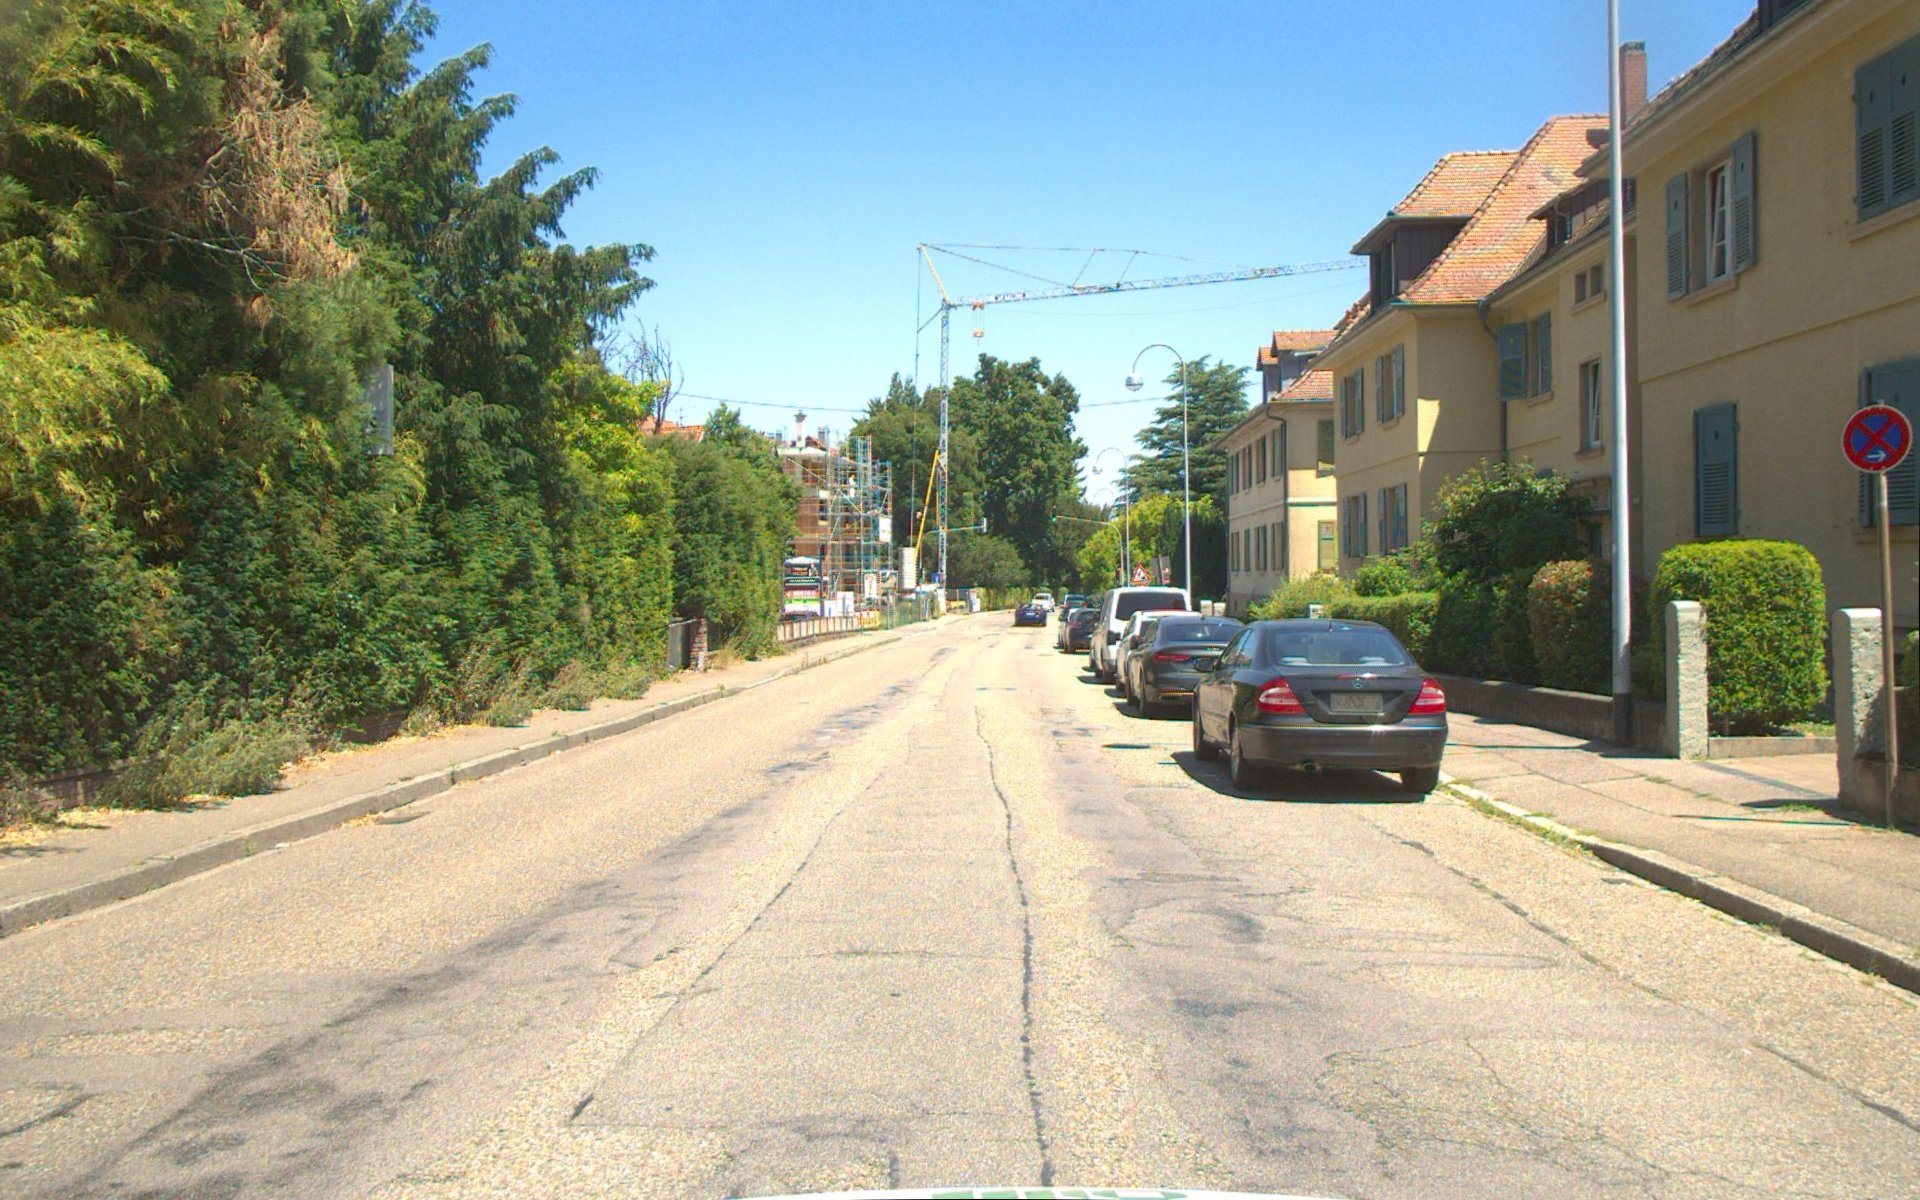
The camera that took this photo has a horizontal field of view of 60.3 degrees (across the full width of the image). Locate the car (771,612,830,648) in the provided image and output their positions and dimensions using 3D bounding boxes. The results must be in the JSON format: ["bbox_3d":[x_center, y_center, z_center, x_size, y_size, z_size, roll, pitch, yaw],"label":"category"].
[{"bbox_3d":[-6.556,1.209,68.270,1.624,1.413,3.537,-1,0,7],"label":"car"}]

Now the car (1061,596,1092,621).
[{"bbox_3d":[8.046,0.582,114.177,1.951,1.691,4.003,-1,0,6],"label":"car"}]

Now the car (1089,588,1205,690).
[{"bbox_3d":[3.837,0.776,34.677,1.952,1.934,4.823,1,0,1],"label":"car"}]

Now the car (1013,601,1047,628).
[{"bbox_3d":[4.148,0.844,97.531,1.917,1.494,4.002,-1,1,4],"label":"car"}]

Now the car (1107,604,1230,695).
[{"bbox_3d":[3.610,0.822,29.122,1.725,1.477,3.648,0,0,0],"label":"car"}]

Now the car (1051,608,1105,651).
[{"bbox_3d":[4.277,1.043,60.344,1.725,1.477,3.889,0,0,0],"label":"car"}]

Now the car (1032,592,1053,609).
[{"bbox_3d":[7.358,0.051,147.934,1.724,1.477,3.842,0,0,5],"label":"car"}]

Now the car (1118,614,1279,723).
[{"bbox_3d":[3.388,0.929,24.255,1.725,1.395,4.607,0,0,0],"label":"car"}]

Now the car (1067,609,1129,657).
[{"bbox_3d":[4.521,1.064,54.583,1.725,1.477,3.839,0,0,0],"label":"car"}]

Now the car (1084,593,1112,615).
[{"bbox_3d":[11.408,0.342,136.497,1.951,1.691,4.003,-1,0,8],"label":"car"}]

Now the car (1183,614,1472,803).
[{"bbox_3d":[3.138,0.858,15.021,1.658,1.443,4.551,0,-1,1],"label":"car"}]
